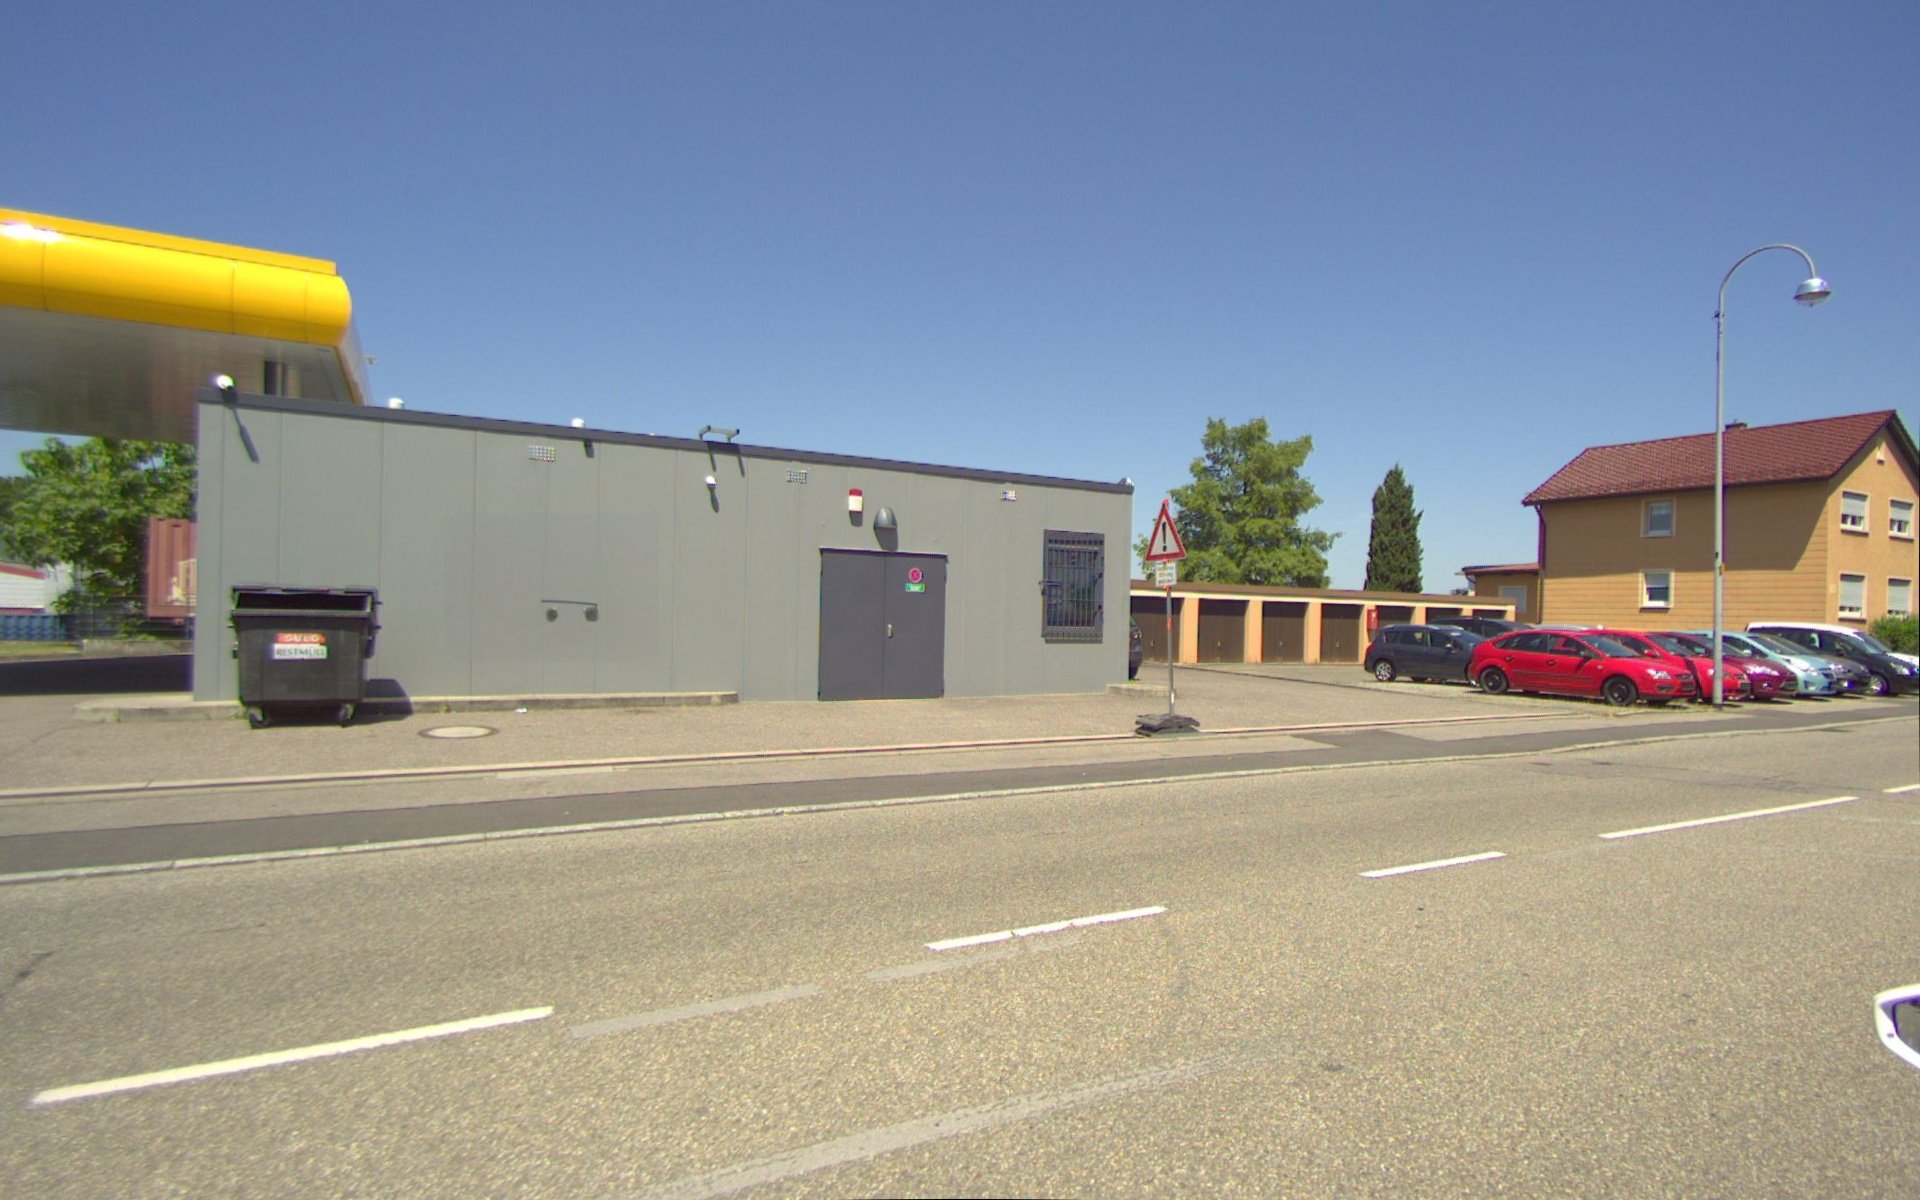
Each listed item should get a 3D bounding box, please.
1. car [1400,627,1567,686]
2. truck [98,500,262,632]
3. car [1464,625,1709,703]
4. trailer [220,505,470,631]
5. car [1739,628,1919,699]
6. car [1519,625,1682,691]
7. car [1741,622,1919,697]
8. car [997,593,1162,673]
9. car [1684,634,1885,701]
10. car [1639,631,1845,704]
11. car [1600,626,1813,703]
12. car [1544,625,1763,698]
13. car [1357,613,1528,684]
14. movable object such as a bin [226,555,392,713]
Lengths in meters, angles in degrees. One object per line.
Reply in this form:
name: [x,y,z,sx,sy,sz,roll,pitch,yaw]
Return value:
car: [14.317,1.505,27.648,1.872,1.476,3.644,2,-2,-32]
truck: [-20.566,-0.810,26.656,3.152,3.285,1.837,1,-1,-30]
car: [13.277,1.296,21.530,1.806,1.463,4.106,2,-2,-30]
trailer: [-17.277,-0.784,28.592,5.844,3.262,1.856,1,-1,-30]
car: [23.377,1.646,26.854,1.901,1.694,3.644,2,-2,-32]
car: [19.018,1.691,29.954,1.901,1.799,3.644,2,-2,-32]
car: [24.890,1.620,28.396,1.980,1.923,4.068,2,-2,-34]
car: [2.549,0.726,22.370,1.732,1.605,3.973,2,-2,-27]
car: [21.277,1.698,26.051,1.901,1.552,3.644,2,-2,-32]
car: [19.425,1.628,25.083,1.901,1.602,3.644,2,-2,-32]
car: [17.487,1.459,23.680,1.861,1.626,3.644,2,-2,-32]
car: [15.517,1.333,22.639,1.872,1.476,3.644,2,-2,-32]
car: [12.636,1.235,26.490,1.872,1.732,3.643,2,-2,-32]
movable object such as a bin: [-6.857,0.327,10.685,1.411,1.538,0.947,0,3,-30]
